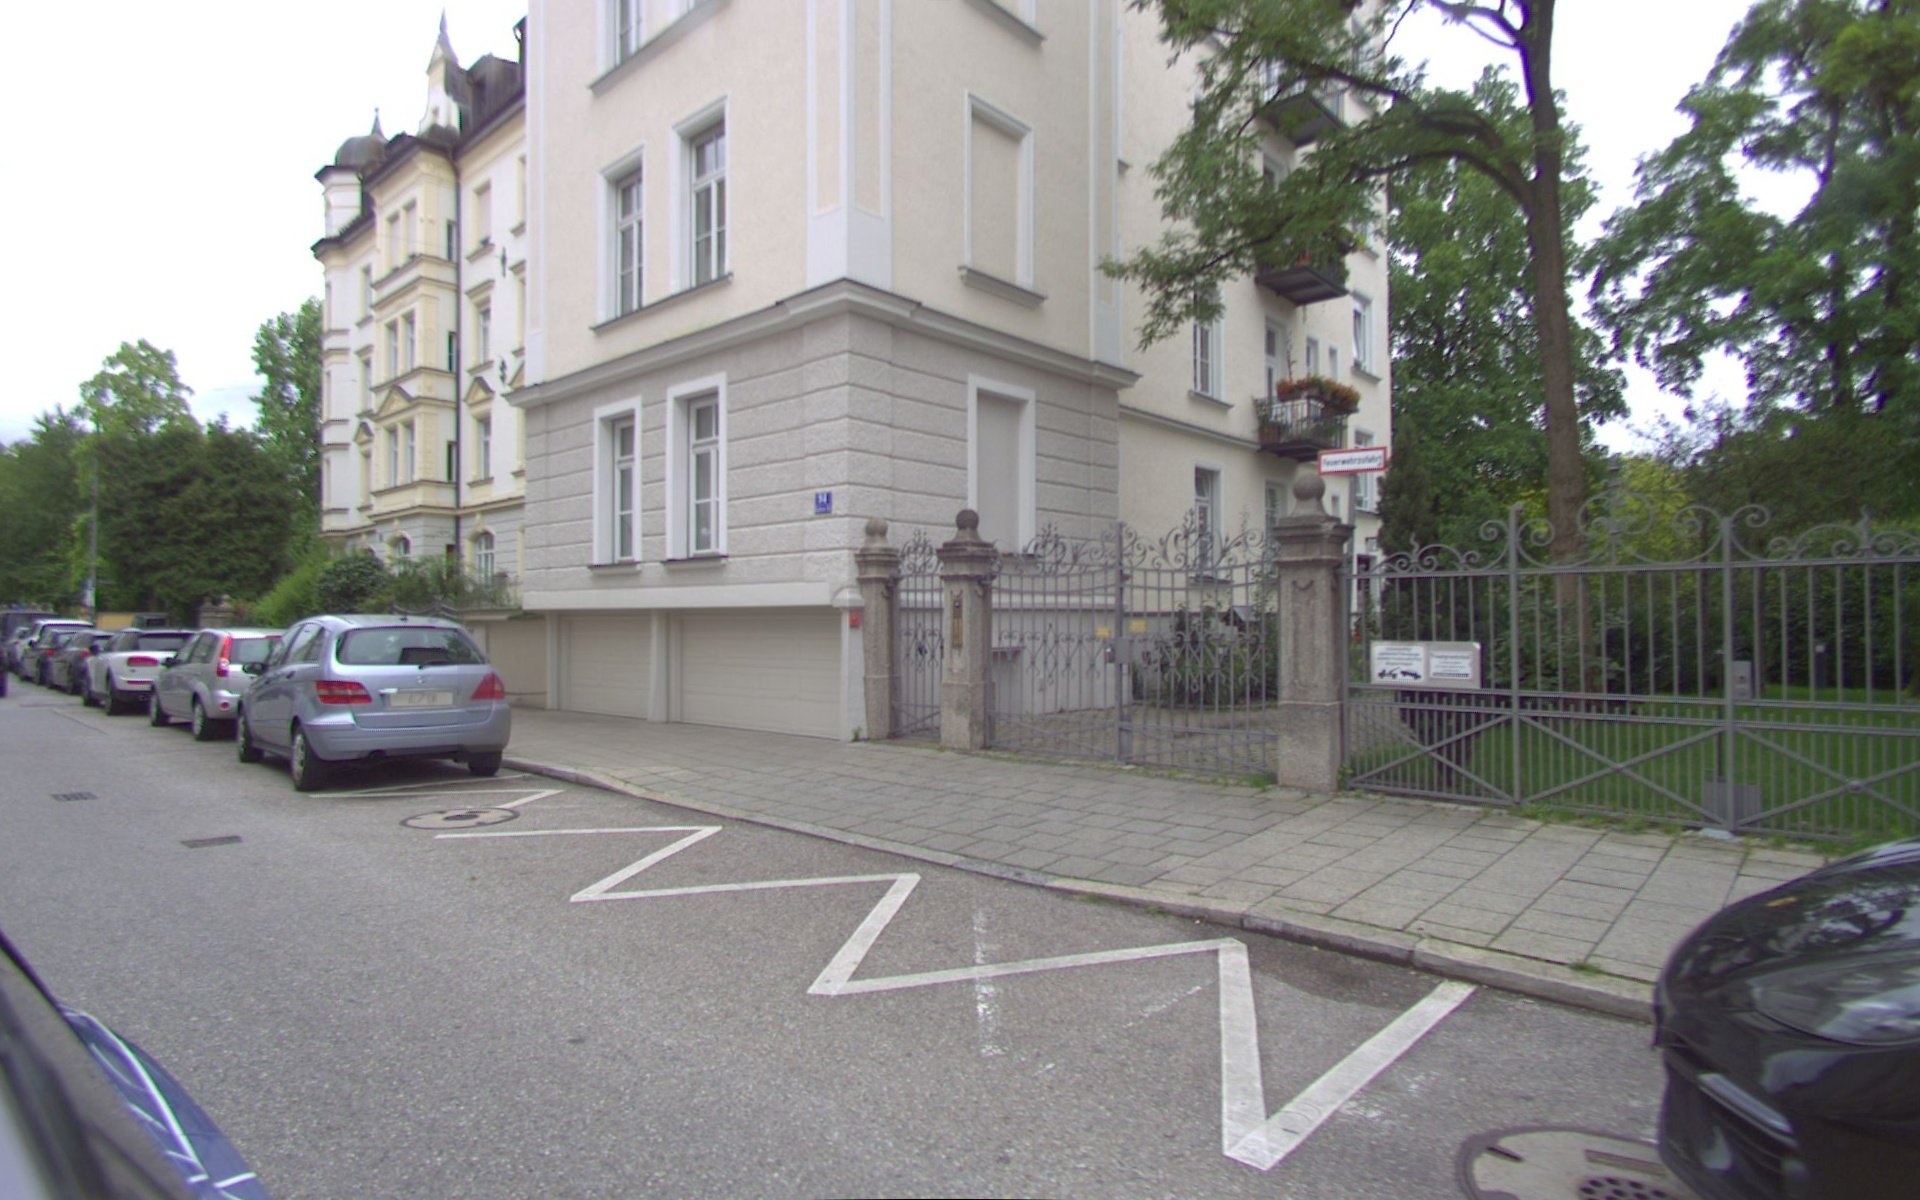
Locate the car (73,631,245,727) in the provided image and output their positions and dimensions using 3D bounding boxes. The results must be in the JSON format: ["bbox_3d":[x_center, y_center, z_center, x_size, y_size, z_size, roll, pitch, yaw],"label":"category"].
[{"bbox_3d":[-14.242,1.302,17.922,4.079,1.446,1.777,-1,-2,43],"label":"car"}]

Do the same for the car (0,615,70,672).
[{"bbox_3d":[-33.466,1.523,36.202,4.816,1.901,1.891,-1,-3,43],"label":"car"}]

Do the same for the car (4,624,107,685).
[{"bbox_3d":[-26.834,1.587,29.972,4.484,1.661,1.786,-2,-3,42],"label":"car"}]

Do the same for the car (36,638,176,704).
[{"bbox_3d":[-19.542,1.565,23.107,4.190,1.375,1.717,-2,-4,40],"label":"car"}]

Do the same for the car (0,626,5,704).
[{"bbox_3d":[-21.213,1.310,20.947,4.084,1.545,1.706,-1,-2,41],"label":"car"}]

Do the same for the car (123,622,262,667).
[{"bbox_3d":[-33.485,1.911,44.267,2.051,1.872,4.466,-2,-2,36],"label":"car"}]

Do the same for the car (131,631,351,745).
[{"bbox_3d":[-10.466,1.184,14.630,3.997,1.414,1.627,-1,-4,41],"label":"car"}]

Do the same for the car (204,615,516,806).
[{"bbox_3d":[-6.327,1.022,10.483,4.062,1.593,1.678,-2,-5,43],"label":"car"}]

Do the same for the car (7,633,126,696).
[{"bbox_3d":[-23.150,1.603,26.188,3.997,1.431,1.750,0,-1,41],"label":"car"}]

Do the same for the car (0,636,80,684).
[{"bbox_3d":[-30.038,1.943,32.879,3.918,1.441,1.625,-1,-5,42],"label":"car"}]

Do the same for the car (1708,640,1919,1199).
[{"bbox_3d":[3.810,0.761,1.090,4.699,1.377,1.830,-2,-2,41],"label":"car"}]

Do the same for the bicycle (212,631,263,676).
[{"bbox_3d":[-21.695,1.588,30.380,2.531,1.307,0.747,-2,-4,44],"label":"bicycle"}]

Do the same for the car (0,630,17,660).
[{"bbox_3d":[-50.586,2.327,52.753,3.954,1.504,1.682,-2,-3,41],"label":"car"}]
